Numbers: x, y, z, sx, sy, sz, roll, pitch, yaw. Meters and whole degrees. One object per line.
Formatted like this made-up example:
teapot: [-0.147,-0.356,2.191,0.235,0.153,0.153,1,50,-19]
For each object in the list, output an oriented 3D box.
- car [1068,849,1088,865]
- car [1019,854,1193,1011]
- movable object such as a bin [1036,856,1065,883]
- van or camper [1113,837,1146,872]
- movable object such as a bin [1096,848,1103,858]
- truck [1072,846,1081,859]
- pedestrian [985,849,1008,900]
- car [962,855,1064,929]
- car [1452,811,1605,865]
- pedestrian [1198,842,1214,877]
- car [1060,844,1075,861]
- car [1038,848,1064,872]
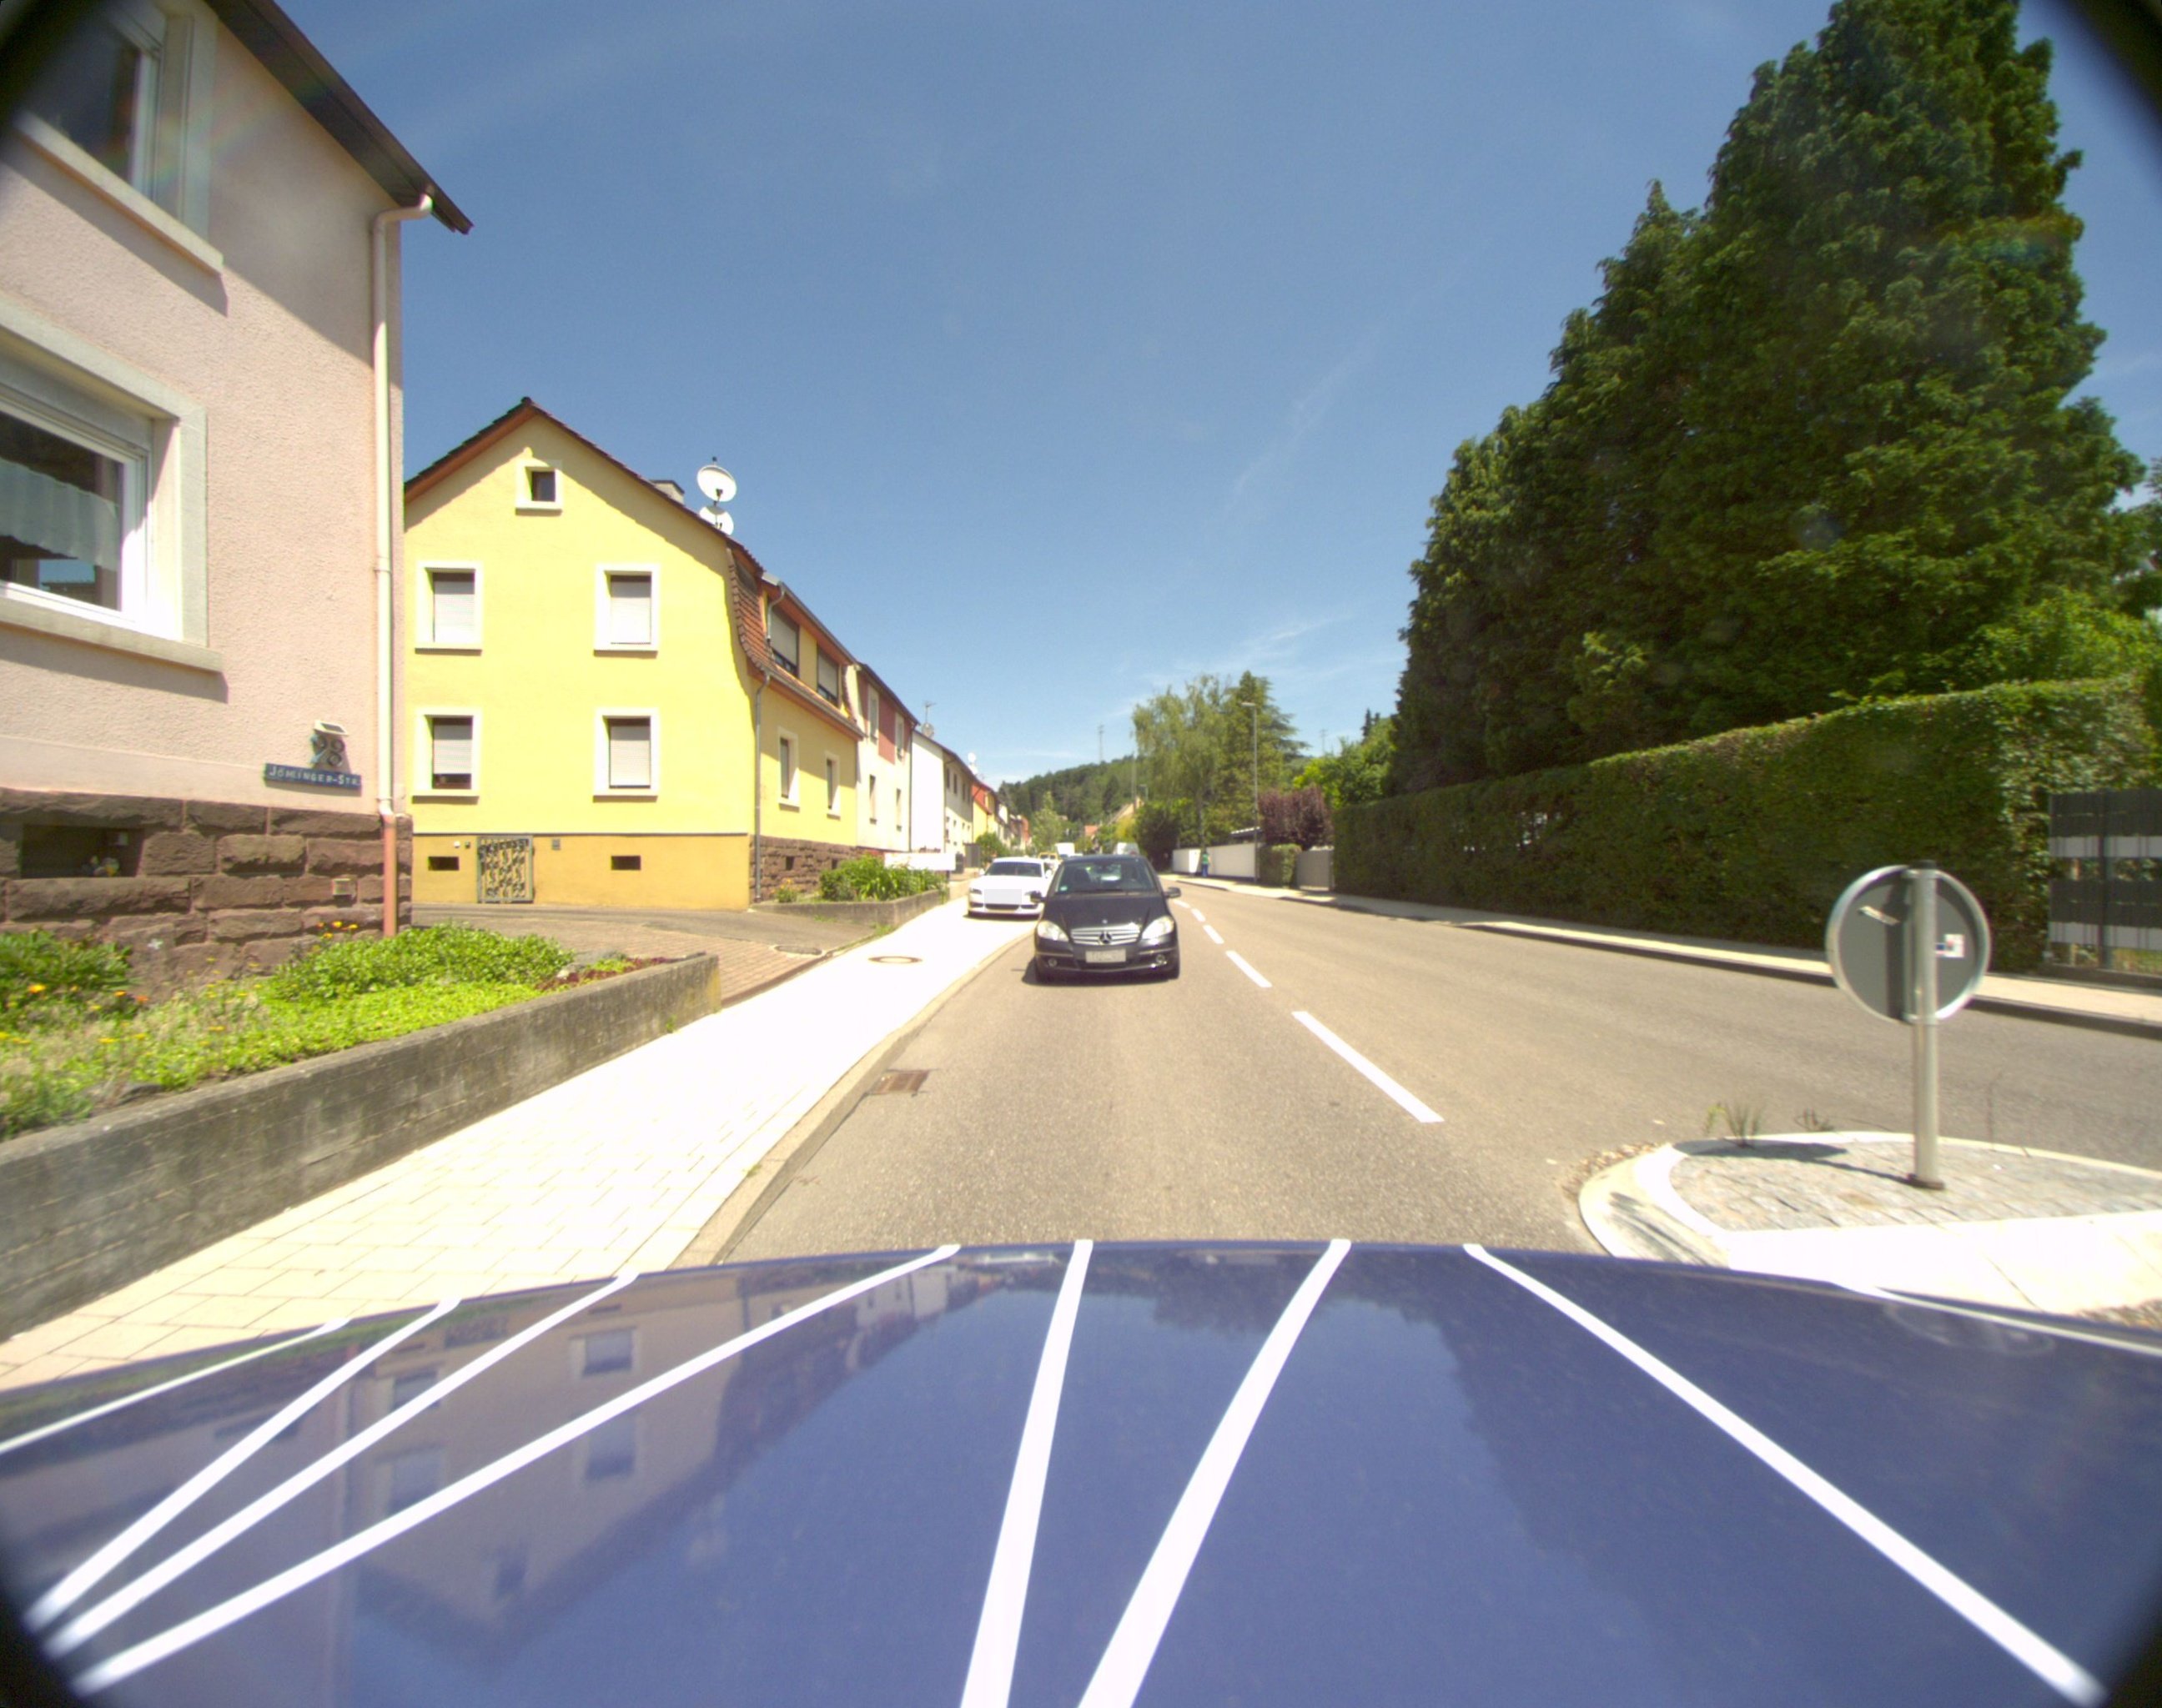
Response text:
car: [-0.338,0.286,85.558,1.999,1.716,3.998,-3,1,-4]
car: [0.217,0.868,10.440,1.767,1.571,4.931,-2,-1,-1]
movable object such as a bin: [-1.745,0.826,42.908,1.576,1.408,3.040,0,1,-3]
van or camper: [3.910,0.056,62.223,2.043,2.698,5.822,-1,0,-3]
movable object such as a bin: [3.612,-0.161,148.736,1.062,2.002,1.322,-2,2,-2]
truck: [-1.359,-0.558,219.233,2.548,3.716,8.620,0,0,-1]
pedestrian: [-3.462,0.826,31.059,0.748,2.002,1.033,-2,2,-1]
car: [-1.555,0.833,18.933,1.760,1.410,4.633,3,2,4]
car: [17.872,-0.649,30.518,4.813,1.883,2.161,-2,1,0]
pedestrian: [7.172,0.312,43.668,0.722,2.002,0.804,-2,2,1]
car: [-1.834,-0.185,104.998,1.987,2.170,3.999,-2,1,-1]
car: [-2.912,0.515,72.586,2.196,2.002,5.620,3,1,-3]
